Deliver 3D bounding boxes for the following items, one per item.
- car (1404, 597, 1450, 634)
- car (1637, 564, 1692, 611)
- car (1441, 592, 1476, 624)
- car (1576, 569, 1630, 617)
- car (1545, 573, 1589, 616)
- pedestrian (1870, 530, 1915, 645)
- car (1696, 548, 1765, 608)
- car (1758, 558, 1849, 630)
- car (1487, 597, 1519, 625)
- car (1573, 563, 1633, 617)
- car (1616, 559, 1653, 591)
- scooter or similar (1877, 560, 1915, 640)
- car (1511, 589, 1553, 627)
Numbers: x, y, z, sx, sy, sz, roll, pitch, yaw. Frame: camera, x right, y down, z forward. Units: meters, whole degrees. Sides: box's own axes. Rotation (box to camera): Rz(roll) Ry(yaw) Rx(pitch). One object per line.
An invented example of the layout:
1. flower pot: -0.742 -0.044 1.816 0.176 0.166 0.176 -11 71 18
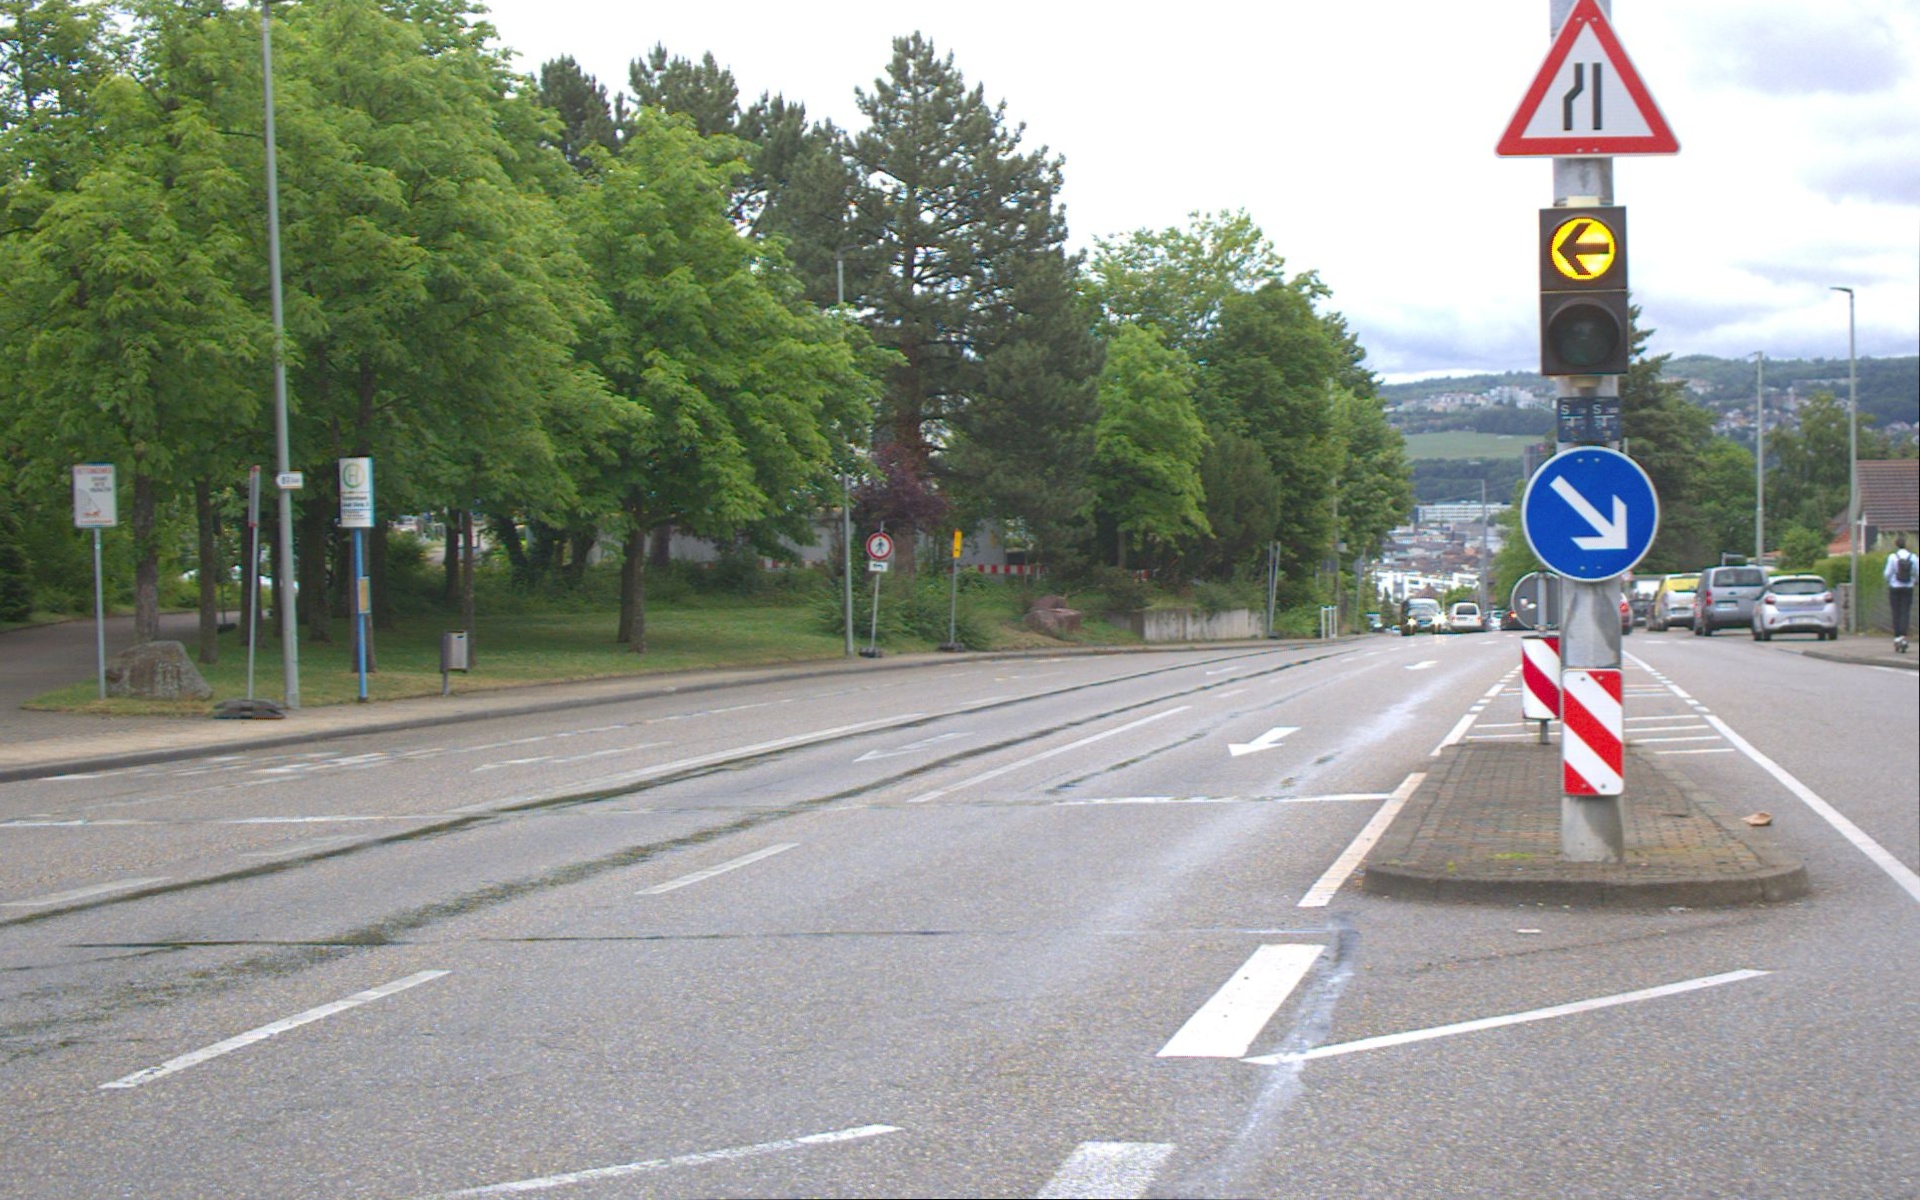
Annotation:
1. car: 22.502 0.738 165.534 1.845 1.711 3.998 -1 1 12
2. car: 25.031 -0.467 122.126 1.851 1.569 3.998 -1 1 12
3. car: 29.250 0.449 201.734 1.888 1.787 3.998 -1 1 11
4. car: 22.463 -0.266 120.048 1.739 1.569 3.998 -1 1 12
5. car: 26.532 -0.251 150.174 1.798 1.777 3.998 0 1 11
6. pedestrian: 16.264 -0.225 59.960 0.655 1.995 0.718 -1 1 8
7. car: 21.861 -0.646 97.634 1.851 1.569 3.999 0 2 11
8. car: 19.360 -0.168 79.052 1.851 1.569 3.998 1 1 11
9. car: 34.719 0.684 219.853 1.994 1.645 3.999 -1 1 9
10. car: 19.905 -0.329 106.330 1.755 1.569 3.998 -1 1 12
11. car: 35.014 -1.322 178.401 1.851 1.569 3.998 -1 1 12
12. scooter or similar: 16.294 -0.009 59.875 0.461 1.356 1.384 -1 1 8
13. car: 28.453 0.407 171.009 1.888 1.787 3.998 -1 1 12
